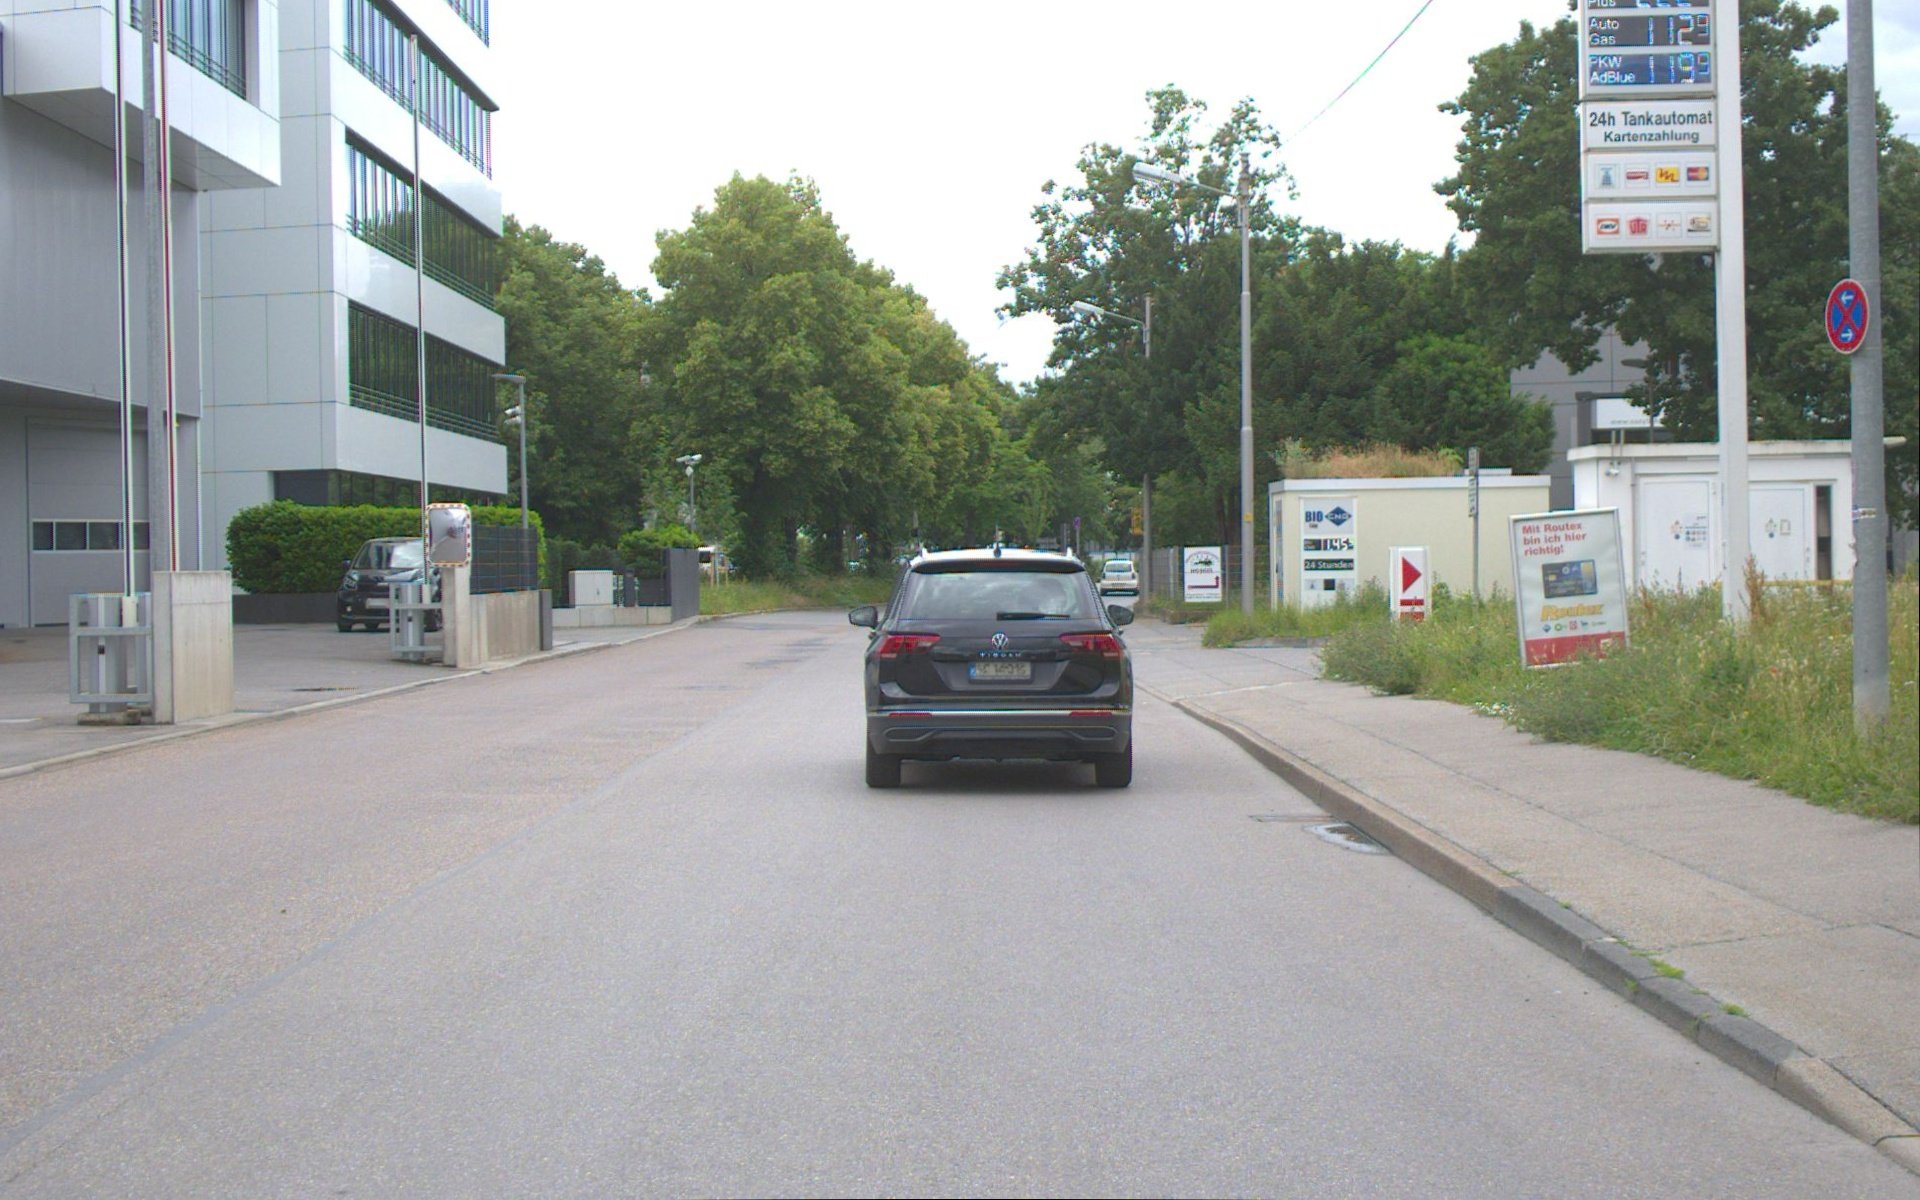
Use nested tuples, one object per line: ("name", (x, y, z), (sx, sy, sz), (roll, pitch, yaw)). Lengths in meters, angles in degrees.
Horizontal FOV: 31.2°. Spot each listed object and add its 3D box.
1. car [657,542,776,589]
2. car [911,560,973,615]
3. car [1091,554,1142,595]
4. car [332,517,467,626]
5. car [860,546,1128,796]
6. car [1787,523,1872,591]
("car", (-12.942, -1.845, 183.047), (6.071, 2.379, 2.394), (-1, 1, 3))
("car", (-0.551, -0.395, 105.210), (1.839, 1.611, 4.000), (-1, 1, 0))
("car", (6.898, -1.134, 151.414), (1.994, 1.780, 3.999), (0, 1, 6))
("car", (-9.349, -0.485, 57.559), (1.650, 1.756, 3.179), (1, 1, 1))
("car", (0.289, 0.459, 24.103), (1.739, 1.612, 3.641), (0, 0, 2))
("car", (22.425, -1.123, 88.565), (1.995, 1.606, 4.439), (-2, 1, 16))
